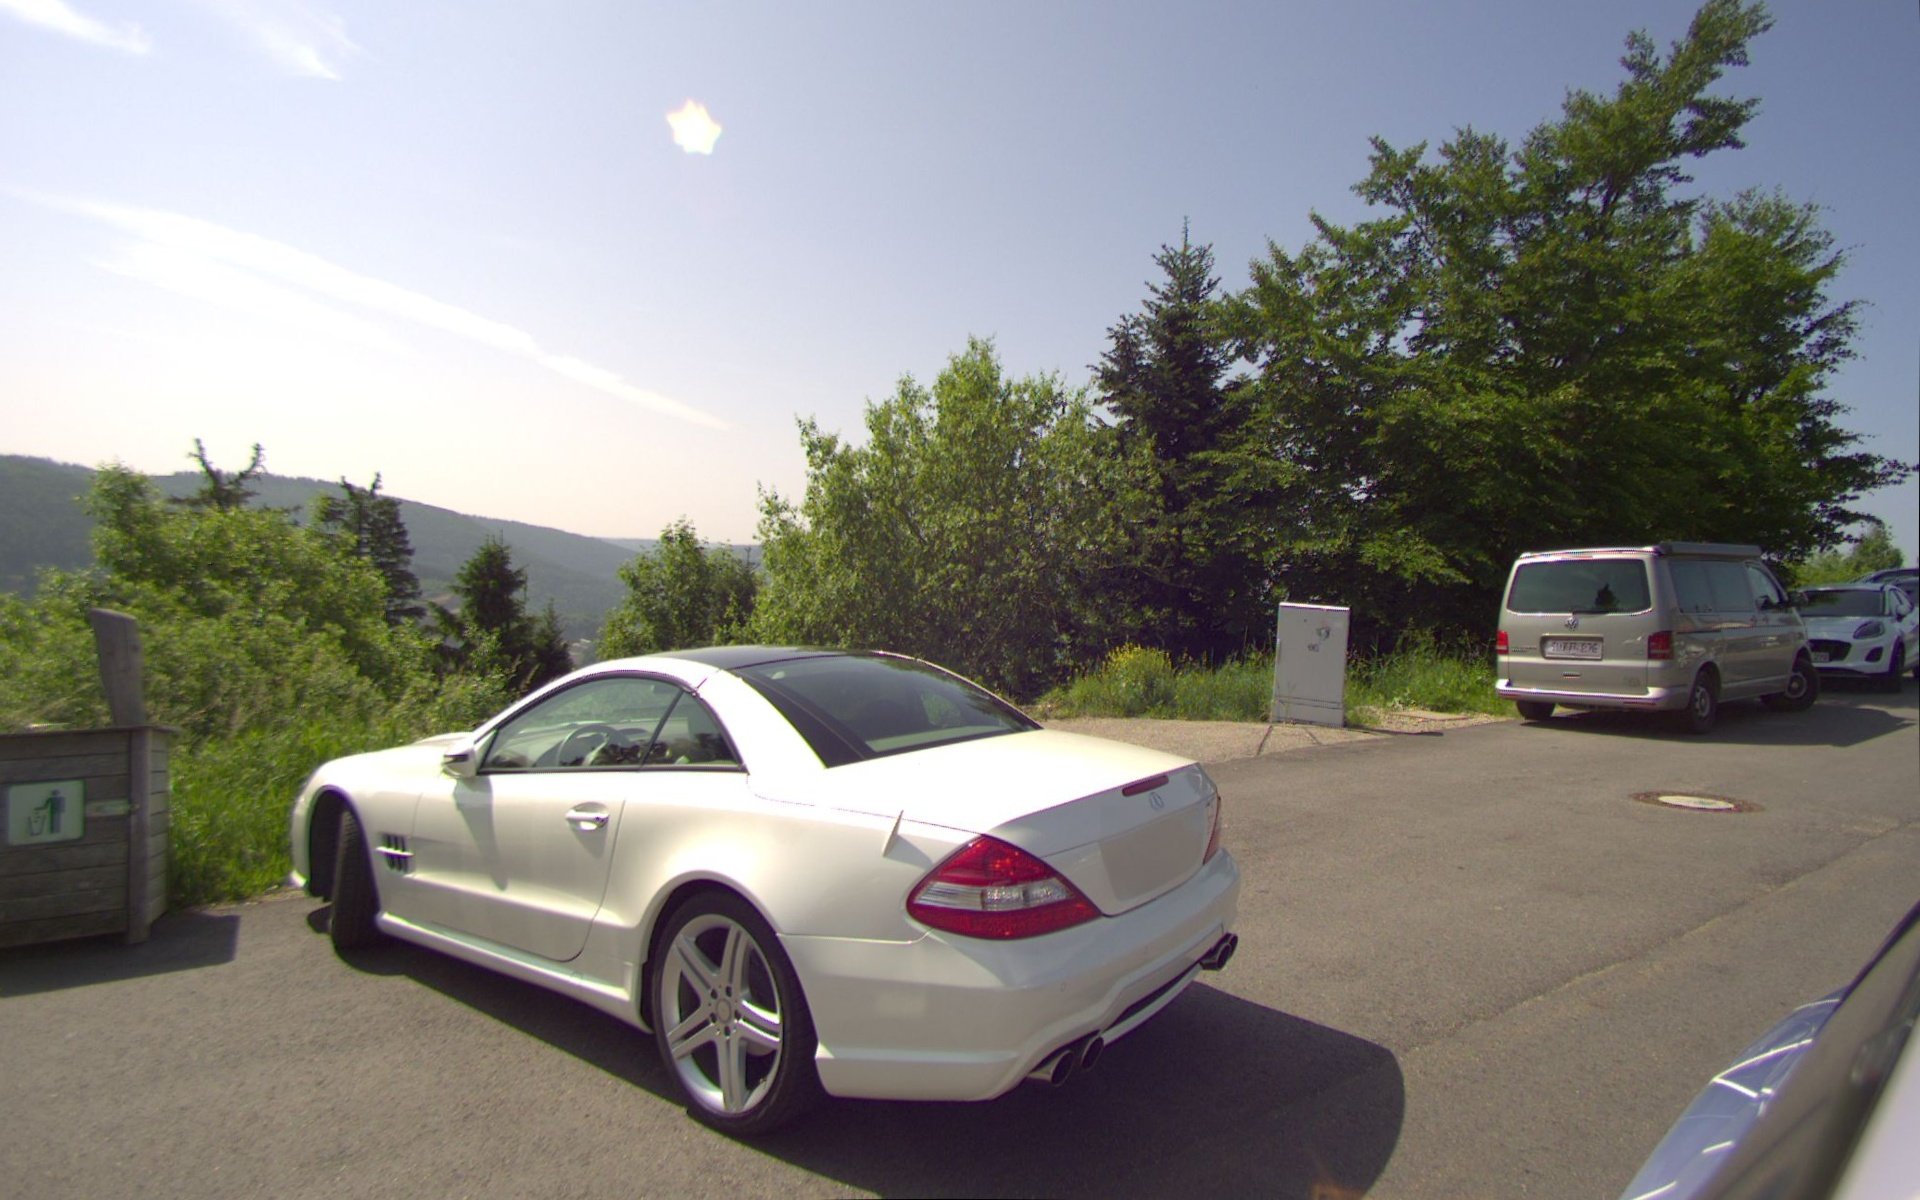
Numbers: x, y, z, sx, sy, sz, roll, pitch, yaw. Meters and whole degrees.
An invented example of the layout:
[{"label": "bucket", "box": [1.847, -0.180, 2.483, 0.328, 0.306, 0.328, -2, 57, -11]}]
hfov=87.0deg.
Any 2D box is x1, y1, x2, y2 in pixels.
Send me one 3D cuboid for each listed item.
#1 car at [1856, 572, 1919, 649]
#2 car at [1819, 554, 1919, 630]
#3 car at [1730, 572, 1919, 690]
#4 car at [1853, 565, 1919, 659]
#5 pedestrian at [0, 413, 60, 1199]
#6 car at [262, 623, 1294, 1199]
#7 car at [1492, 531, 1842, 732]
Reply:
[{"label": "car", "box": [21.960, 0.215, 21.604, 3.972, 1.639, 1.854, -1, 0, 34]}, {"label": "car", "box": [25.590, -0.220, 26.563, 4.429, 1.949, 1.854, -1, 0, 34]}, {"label": "car", "box": [13.481, 0.398, 15.390, 3.927, 1.567, 1.875, -1, 0, -38]}, {"label": "car", "box": [18.470, 0.190, 18.979, 3.927, 1.639, 1.875, -1, 0, -38]}, {"label": "pedestrian", "box": [-2.474, 0.524, 2.084, 0.730, 1.822, 0.740, 0, 1, 32]}, {"label": "car", "box": [-1.088, 0.773, 4.186, 4.387, 1.312, 1.732, -1, -1, 38]}, {"label": "car", "box": [8.419, 0.299, 11.939, 4.520, 1.960, 1.863, 0, -1, -34]}]
